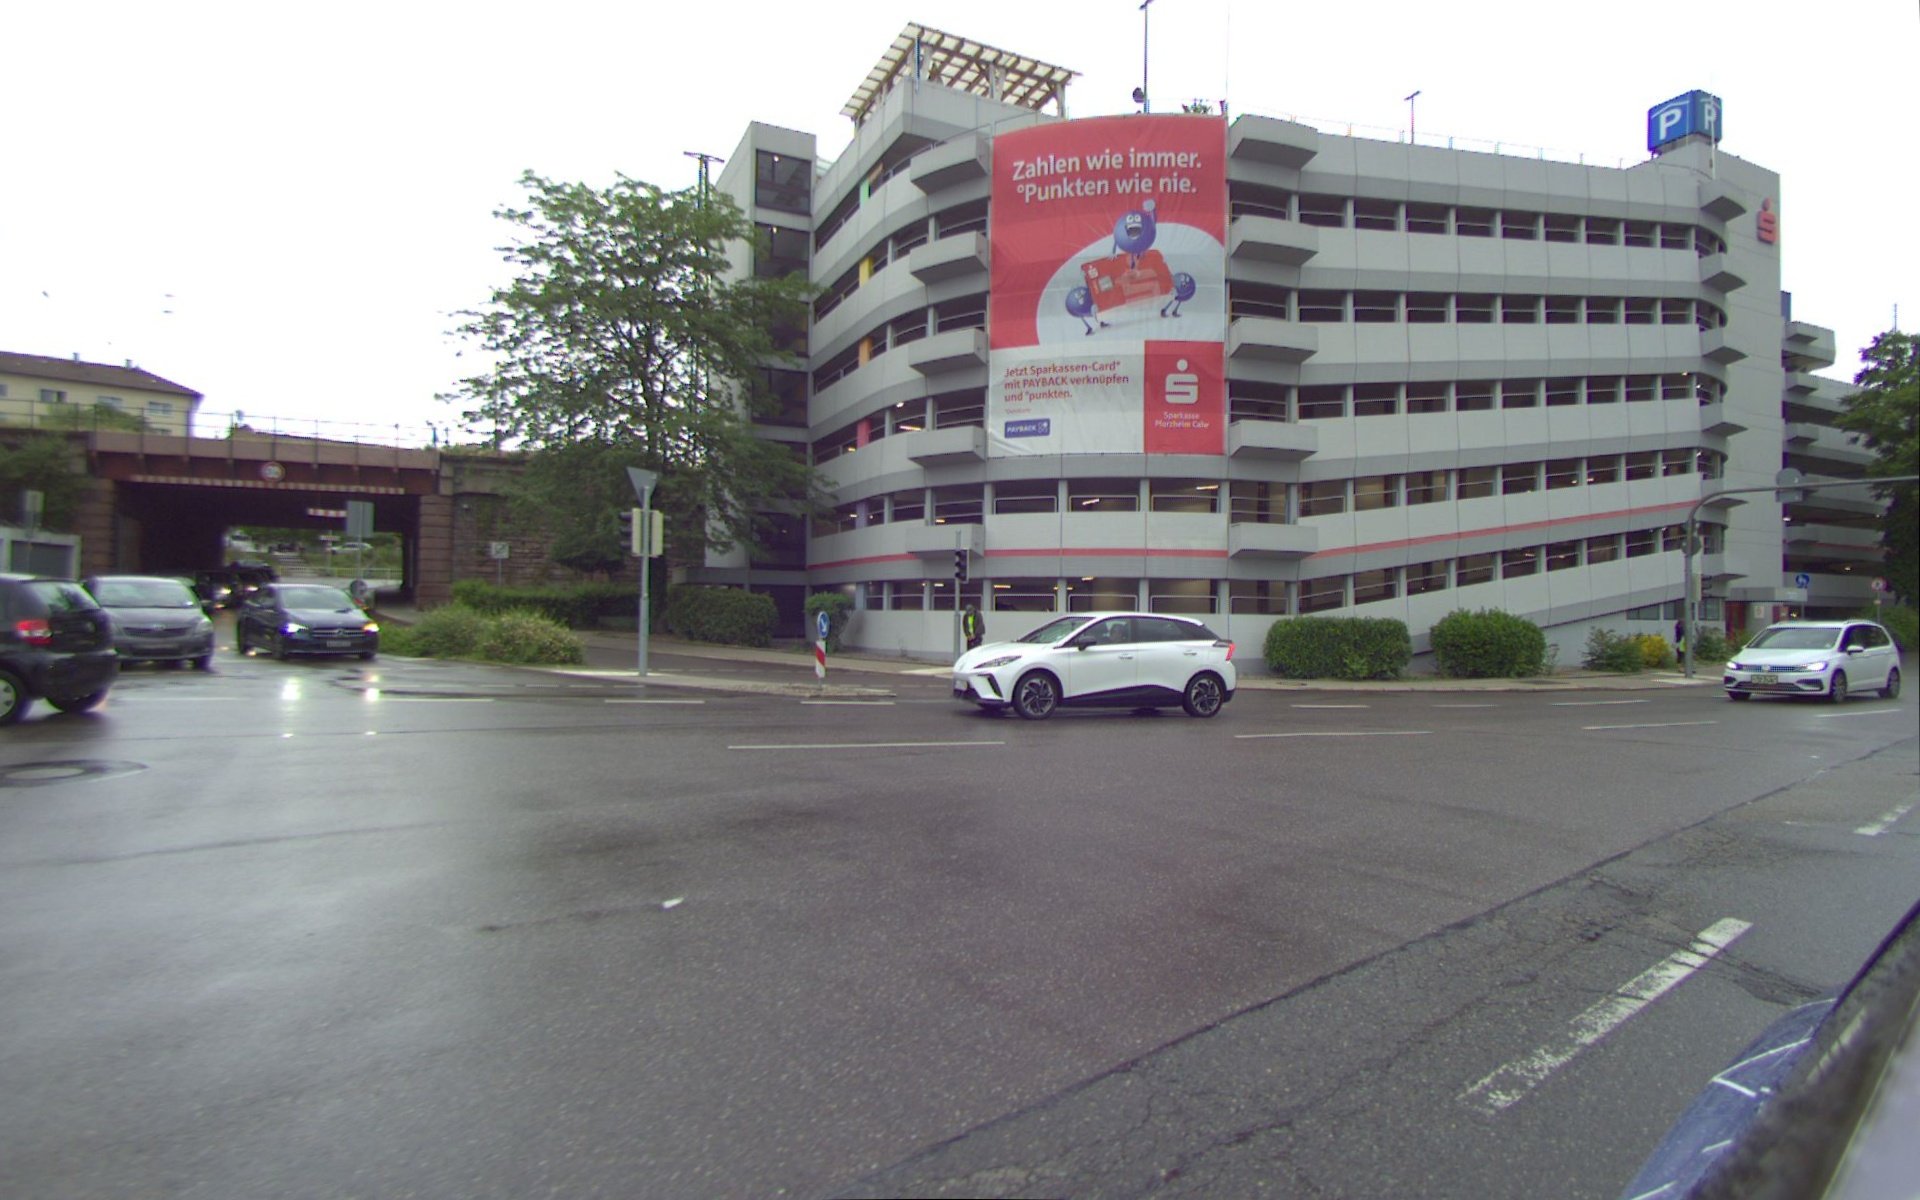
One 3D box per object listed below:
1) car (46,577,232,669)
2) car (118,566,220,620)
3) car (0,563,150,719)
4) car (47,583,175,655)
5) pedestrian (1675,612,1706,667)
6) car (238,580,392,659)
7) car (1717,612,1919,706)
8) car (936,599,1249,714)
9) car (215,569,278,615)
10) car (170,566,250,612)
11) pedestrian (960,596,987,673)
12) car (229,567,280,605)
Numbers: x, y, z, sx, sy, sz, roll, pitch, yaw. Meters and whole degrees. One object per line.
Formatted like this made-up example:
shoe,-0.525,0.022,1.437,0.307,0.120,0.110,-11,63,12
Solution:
car,-15.324,0.346,18.799,4.467,1.462,1.970,2,1,41
car,-28.563,-0.208,36.691,1.959,1.806,4.169,0,-2,-24
car,-10.899,0.417,10.343,3.666,1.512,1.681,1,-3,-14
car,-19.669,0.386,23.630,1.962,1.462,4.484,1,1,-36
pedestrian,23.062,1.244,31.946,0.508,1.680,0.586,0,2,-23
car,-13.884,0.354,21.682,1.966,1.462,4.475,1,1,-43
car,17.806,1.159,20.858,4.311,1.748,2.002,1,-1,-30
car,1.899,0.799,14.743,4.120,1.497,1.809,1,-3,-19
car,-34.632,-0.358,49.191,1.959,2.040,4.004,0,-2,-27
car,-32.267,-0.436,43.653,1.959,1.806,4.005,0,-2,-24
pedestrian,0.336,0.870,25.680,0.536,1.914,0.506,3,1,10
car,-41.712,-0.805,59.922,1.959,2.040,4.004,0,-2,-27
